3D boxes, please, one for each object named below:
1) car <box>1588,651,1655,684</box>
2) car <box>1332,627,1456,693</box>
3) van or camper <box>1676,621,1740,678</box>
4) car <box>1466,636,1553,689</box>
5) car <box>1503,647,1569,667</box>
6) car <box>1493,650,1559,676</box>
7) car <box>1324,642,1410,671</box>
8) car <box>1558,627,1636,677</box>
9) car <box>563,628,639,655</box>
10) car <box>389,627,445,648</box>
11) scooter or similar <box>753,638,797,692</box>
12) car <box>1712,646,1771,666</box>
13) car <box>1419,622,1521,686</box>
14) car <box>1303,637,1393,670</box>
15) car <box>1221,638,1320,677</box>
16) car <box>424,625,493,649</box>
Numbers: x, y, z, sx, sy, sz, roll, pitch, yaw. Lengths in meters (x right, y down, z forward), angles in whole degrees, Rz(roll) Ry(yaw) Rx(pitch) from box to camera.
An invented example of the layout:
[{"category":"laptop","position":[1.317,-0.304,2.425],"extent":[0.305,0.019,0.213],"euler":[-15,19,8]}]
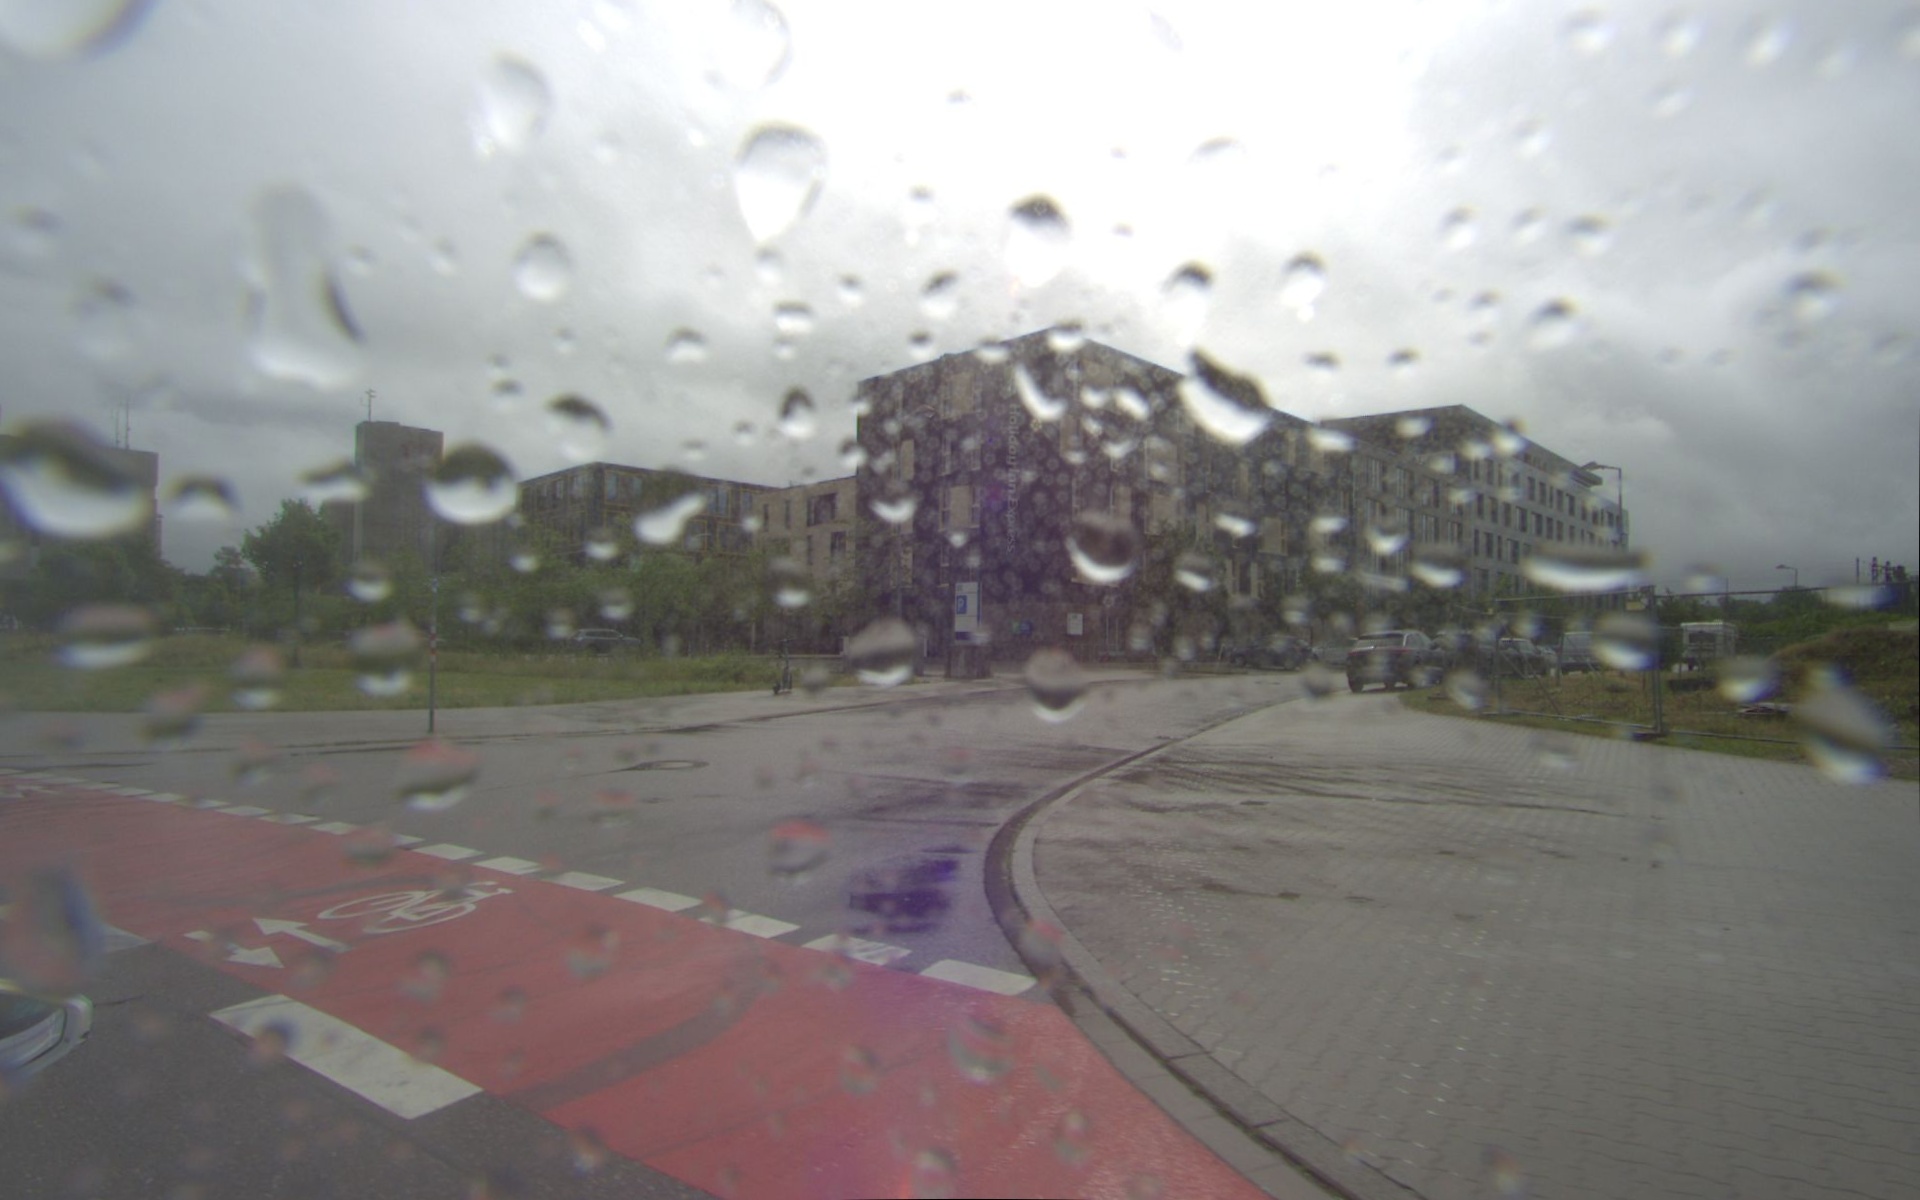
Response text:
[{"category":"car","position":[31.596,3.223,47.776],"extent":[1.979,1.432,3.966],"euler":[-1,-4,44]},{"category":"car","position":[11.828,1.626,27.168],"extent":[1.978,1.637,3.970],"euler":[-4,-5,40]},{"category":"van or camper","position":[49.144,3.298,65.721],"extent":[2.504,3.239,6.746],"euler":[-1,-6,44]},{"category":"car","position":[19.900,2.281,36.190],"extent":[1.977,1.660,3.974],"euler":[0,-6,40]},{"category":"car","position":[41.678,4.105,72.477],"extent":[3.863,1.311,1.540],"euler":[-1,-6,44]},{"category":"car","position":[39.873,4.405,70.596],"extent":[3.802,1.634,1.537],"euler":[-1,-6,44]},{"category":"car","position":[20.736,2.881,51.082],"extent":[3.744,1.413,1.630],"euler":[-3,-6,45]},{"category":"car","position":[28.096,2.316,44.123],"extent":[1.980,1.792,4.304],"euler":[-1,-8,45]},{"category":"car","position":[-22.147,2.547,61.843],"extent":[4.176,1.577,1.652],"euler":[1,-2,-42]},{"category":"car","position":[-46.920,3.207,86.528],"extent":[3.959,1.742,1.753],"euler":[3,-3,-42]},{"category":"scooter or similar","position":[-4.378,1.524,23.776],"extent":[0.494,1.203,1.283],"euler":[2,0,15]},{"category":"car","position":[76.152,5.448,97.628],"extent":[1.784,1.707,4.329],"euler":[7,-6,-42]},{"category":"car","position":[16.064,1.716,31.443],"extent":[1.977,1.748,3.974],"euler":[0,-6,40]},{"category":"car","position":[19.112,2.631,49.416],"extent":[3.768,1.412,1.755],"euler":[-1,-6,44]},{"category":"car","position":[13.761,2.554,44.496],"extent":[3.802,1.546,1.772],"euler":[-1,-6,44]},{"category":"car","position":[-39.659,2.950,79.165],"extent":[4.512,1.784,1.982],"euler":[3,-3,-42]}]
